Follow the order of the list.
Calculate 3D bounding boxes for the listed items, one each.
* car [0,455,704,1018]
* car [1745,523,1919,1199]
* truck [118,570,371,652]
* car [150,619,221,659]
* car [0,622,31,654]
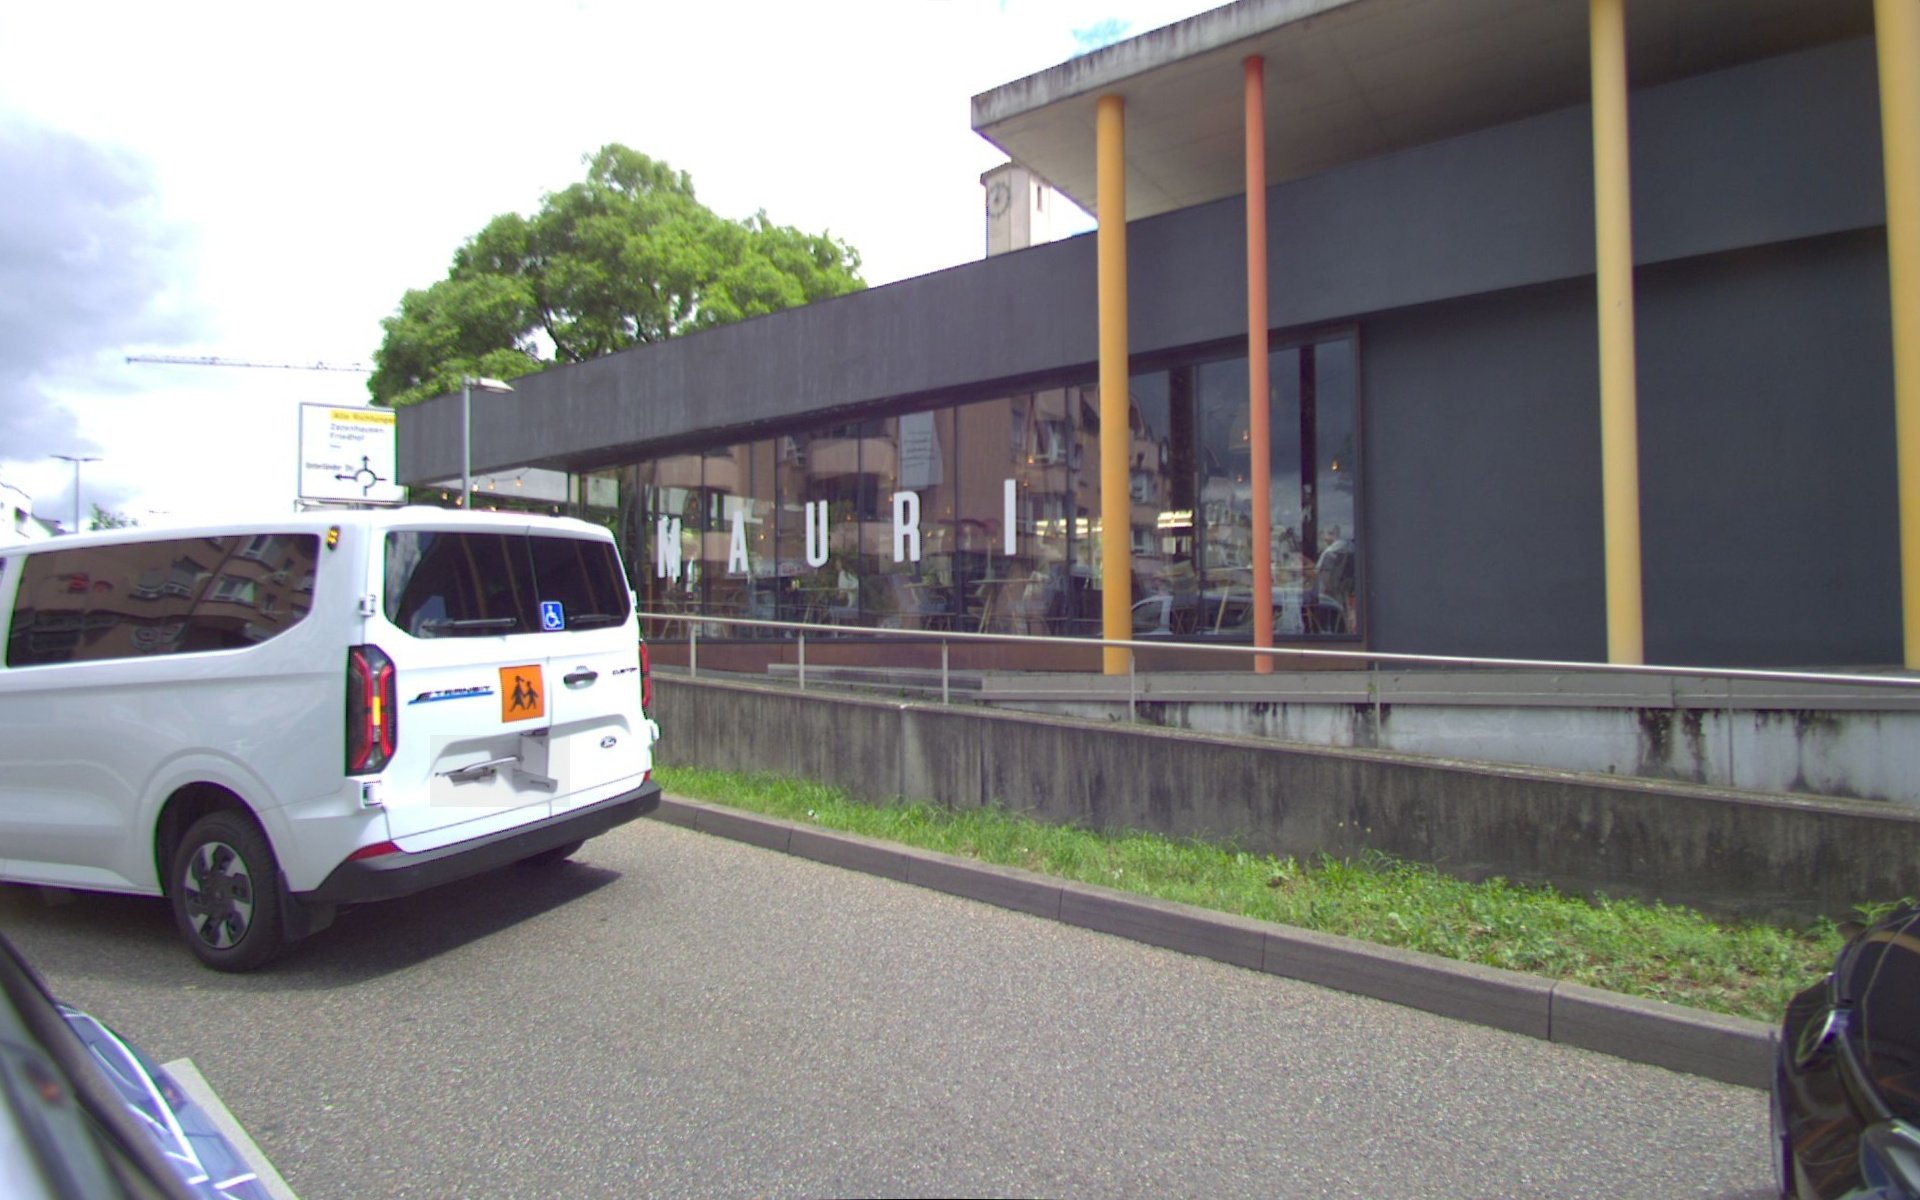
[{"bbox_3d":[-4.246,0.546,5.638,5.359,2.029,1.985,-1,0,23],"label":"car"},{"bbox_3d":[3.205,0.602,0.619,4.227,1.475,1.756,-2,-1,37],"label":"car"},{"bbox_3d":[-37.164,0.507,53.256,2.674,3.872,10.729,0,0,32],"label":"truck"},{"bbox_3d":[-32.912,1.657,43.094,1.797,1.597,4.178,3,-3,-30],"label":"car"},{"bbox_3d":[-44.945,1.711,45.963,4.001,1.409,1.814,0,0,4],"label":"car"}]
